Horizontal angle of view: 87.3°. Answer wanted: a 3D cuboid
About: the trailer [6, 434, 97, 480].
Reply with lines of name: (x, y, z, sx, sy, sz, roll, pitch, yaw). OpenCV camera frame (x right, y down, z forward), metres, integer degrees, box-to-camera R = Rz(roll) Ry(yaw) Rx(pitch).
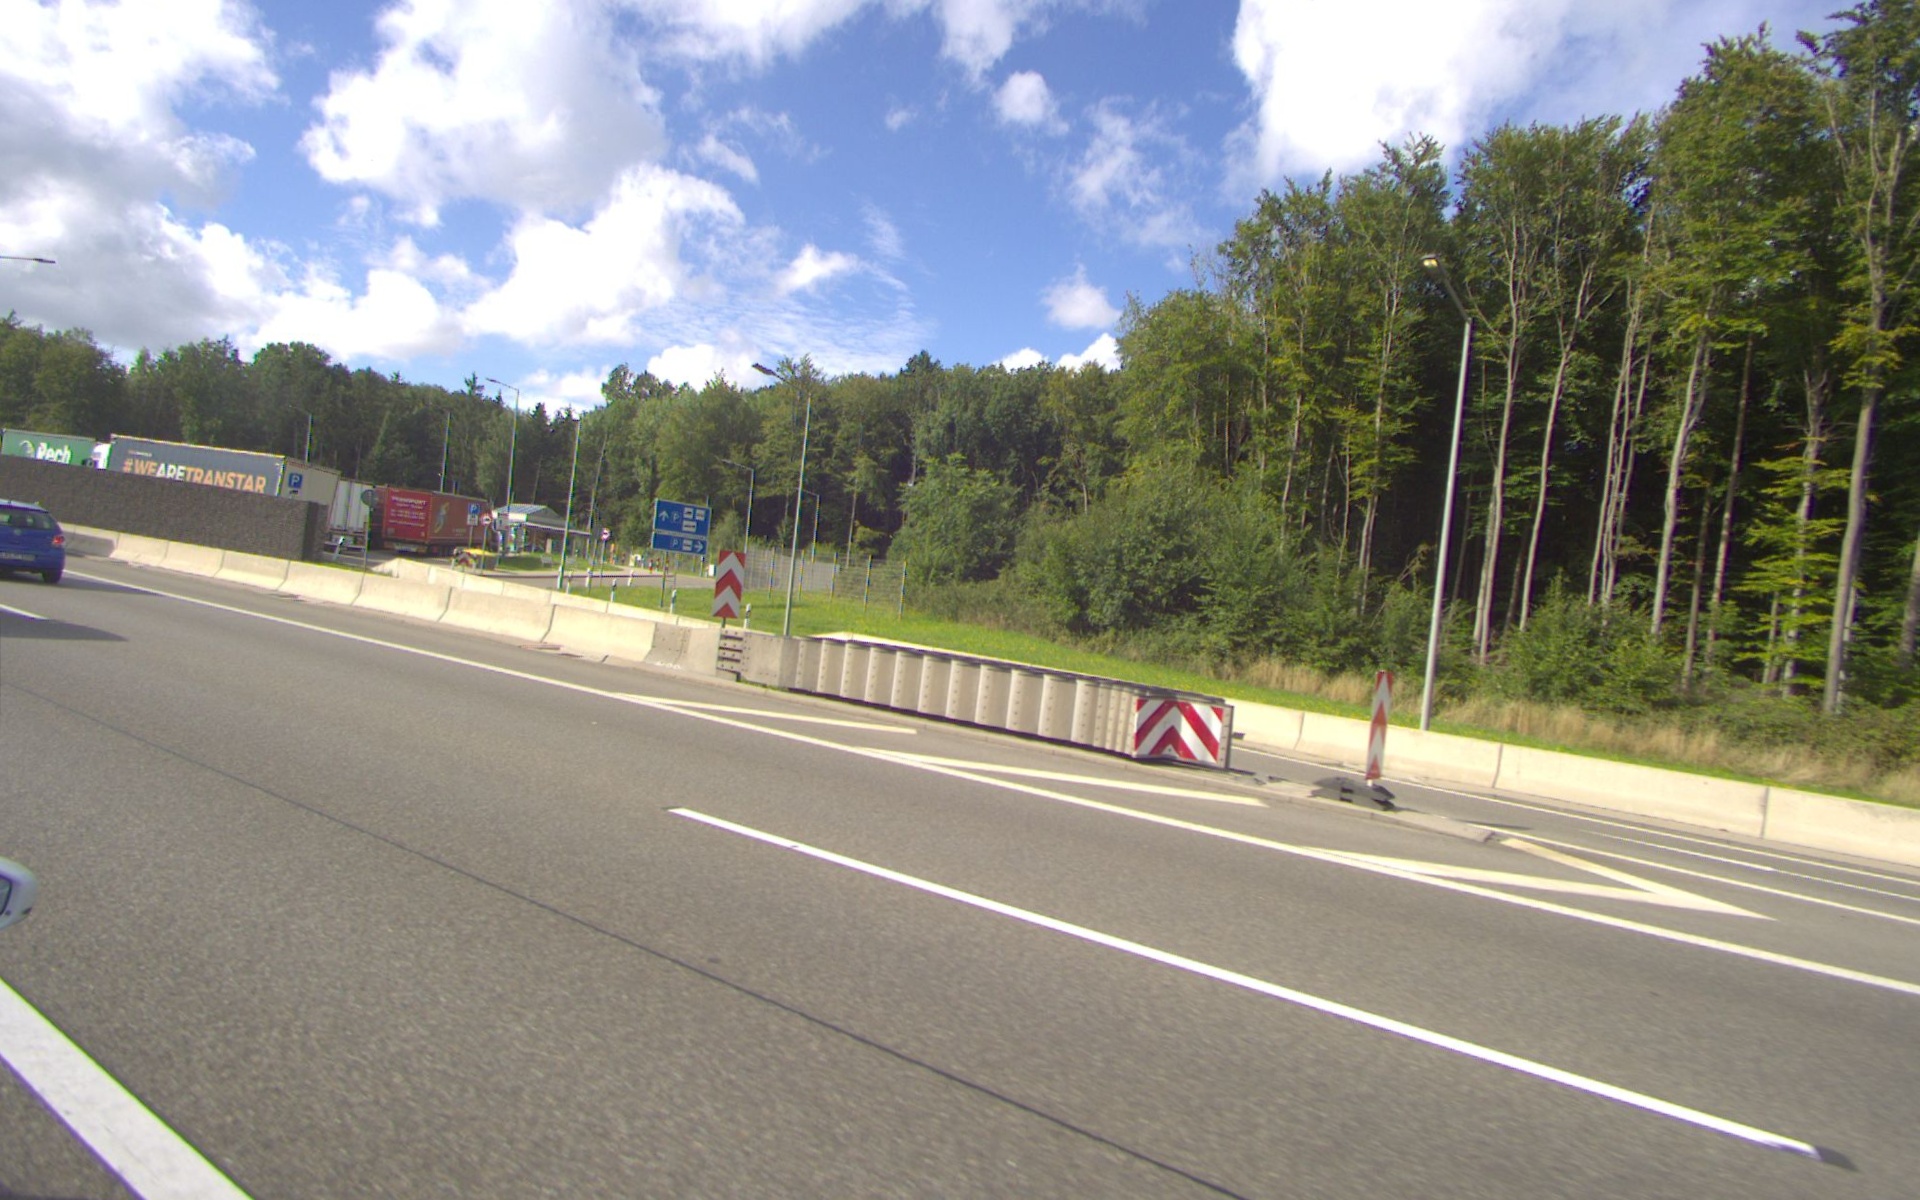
trailer: (-50.753, -7.955, 56.149, 5.679, 2.037, 1.998, 5, -2, 30)

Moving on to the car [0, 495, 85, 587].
car: (-18.629, -1.240, 19.127, 4.231, 1.529, 1.717, 5, -1, 31)

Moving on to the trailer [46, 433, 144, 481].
trailer: (-45.752, -7.528, 53.168, 6.091, 2.037, 1.997, 5, -2, 31)

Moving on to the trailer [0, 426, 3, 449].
trailer: (-63.194, -10.113, 63.599, 6.850, 2.037, 2.054, 5, -2, 32)
